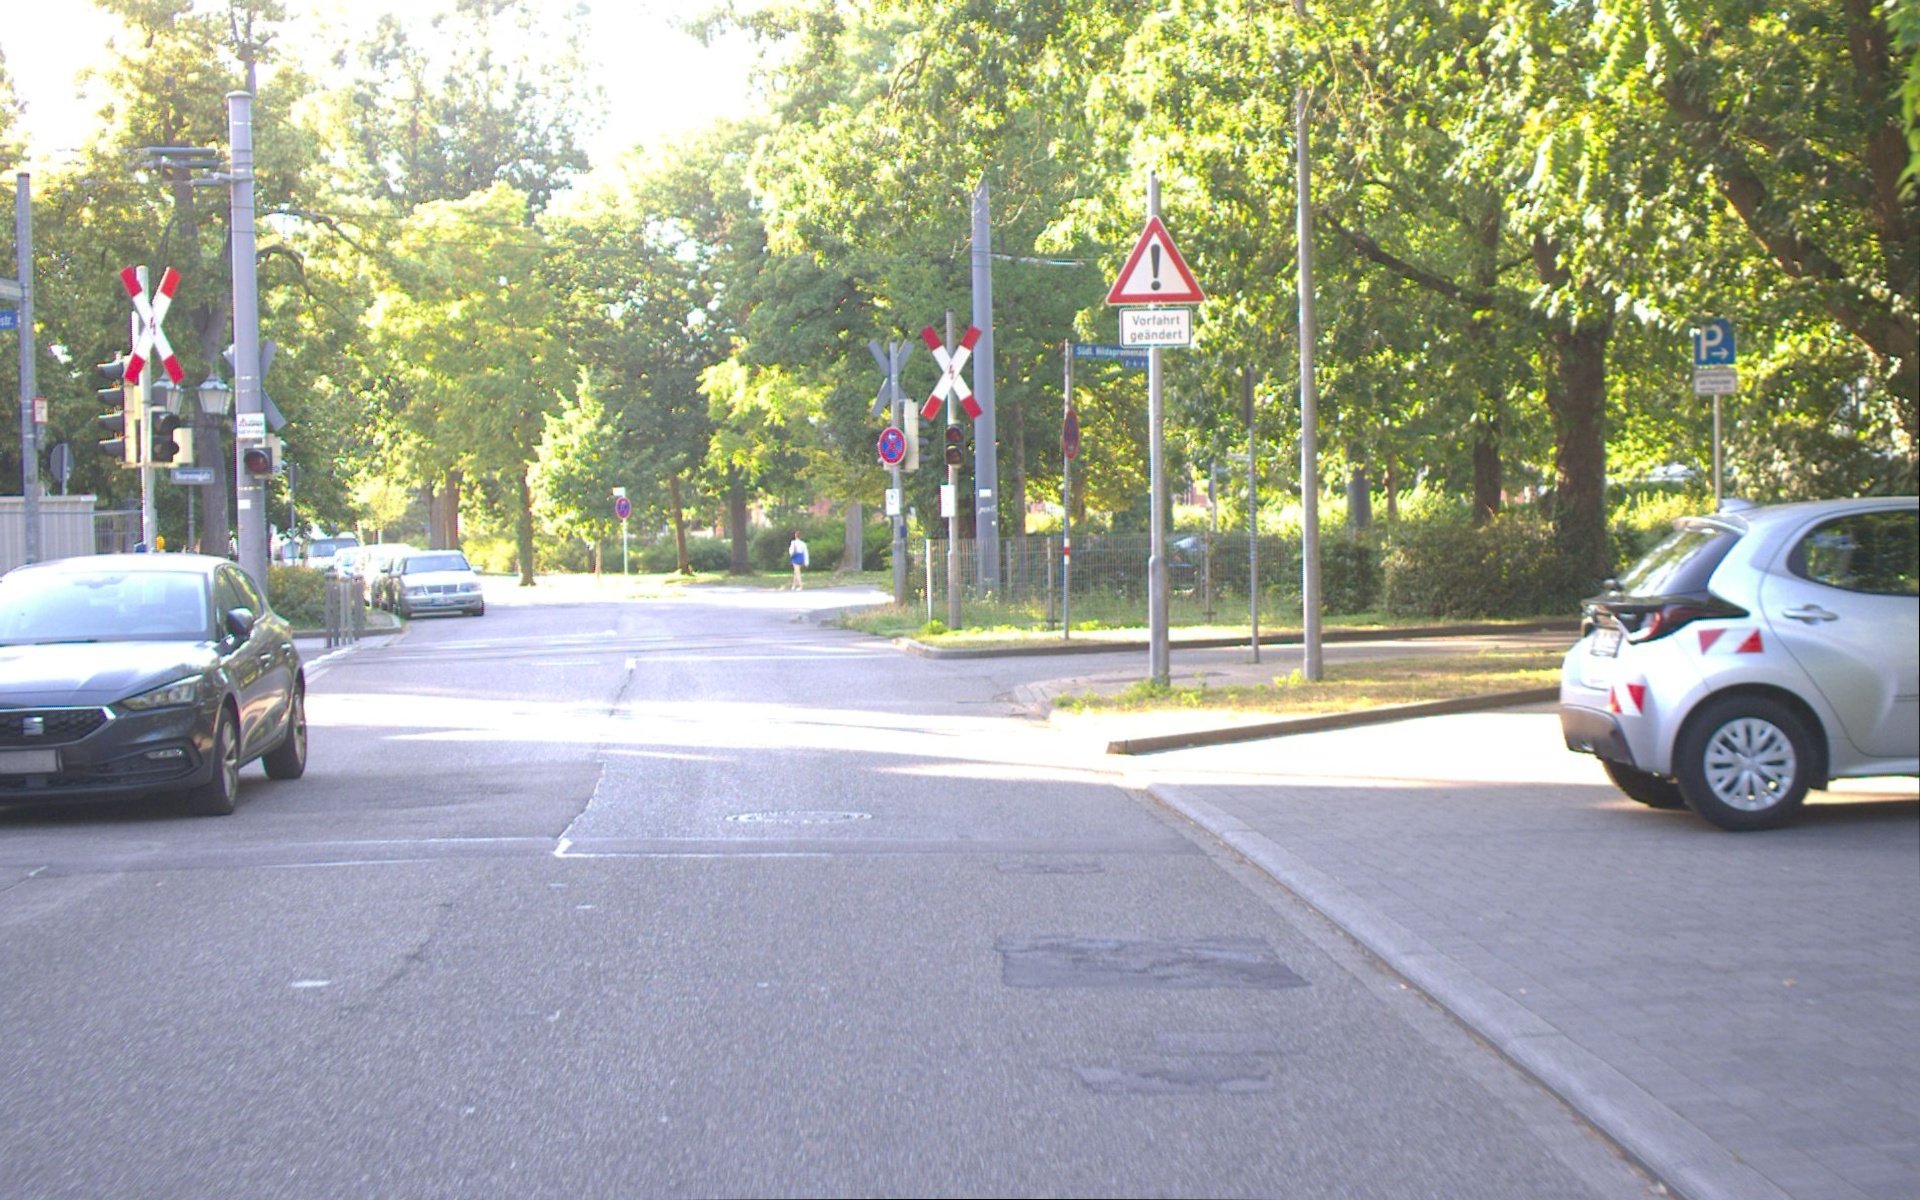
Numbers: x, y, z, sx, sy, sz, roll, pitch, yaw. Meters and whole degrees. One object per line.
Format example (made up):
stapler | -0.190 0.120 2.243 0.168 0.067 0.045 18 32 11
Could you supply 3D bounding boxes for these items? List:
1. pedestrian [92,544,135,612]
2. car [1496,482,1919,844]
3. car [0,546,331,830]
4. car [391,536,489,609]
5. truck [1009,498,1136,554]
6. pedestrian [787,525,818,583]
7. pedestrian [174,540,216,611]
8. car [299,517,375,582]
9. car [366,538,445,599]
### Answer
pedestrian | -15.546 -0.404 63.131 0.551 1.228 0.725 -1 1 2
car | 4.739 0.205 16.388 3.986 1.541 1.735 -3 1 -2
car | -4.912 0.436 20.088 1.743 1.443 4.209 -1 1 -1
car | -11.125 -0.607 73.381 1.779 1.411 4.499 -3 2 -11
truck | 6.115 -4.041 188.753 2.604 3.019 8.008 -1 1 -35
pedestrian | -4.340 -1.281 94.867 0.773 1.569 0.768 -1 1 -6
pedestrian | -14.099 -0.459 63.358 0.551 1.293 0.766 -1 1 2
car | -19.275 -1.573 106.288 1.850 1.939 4.842 -1 1 -16
car | -14.014 -0.817 86.754 1.612 1.435 3.607 -3 2 -14
